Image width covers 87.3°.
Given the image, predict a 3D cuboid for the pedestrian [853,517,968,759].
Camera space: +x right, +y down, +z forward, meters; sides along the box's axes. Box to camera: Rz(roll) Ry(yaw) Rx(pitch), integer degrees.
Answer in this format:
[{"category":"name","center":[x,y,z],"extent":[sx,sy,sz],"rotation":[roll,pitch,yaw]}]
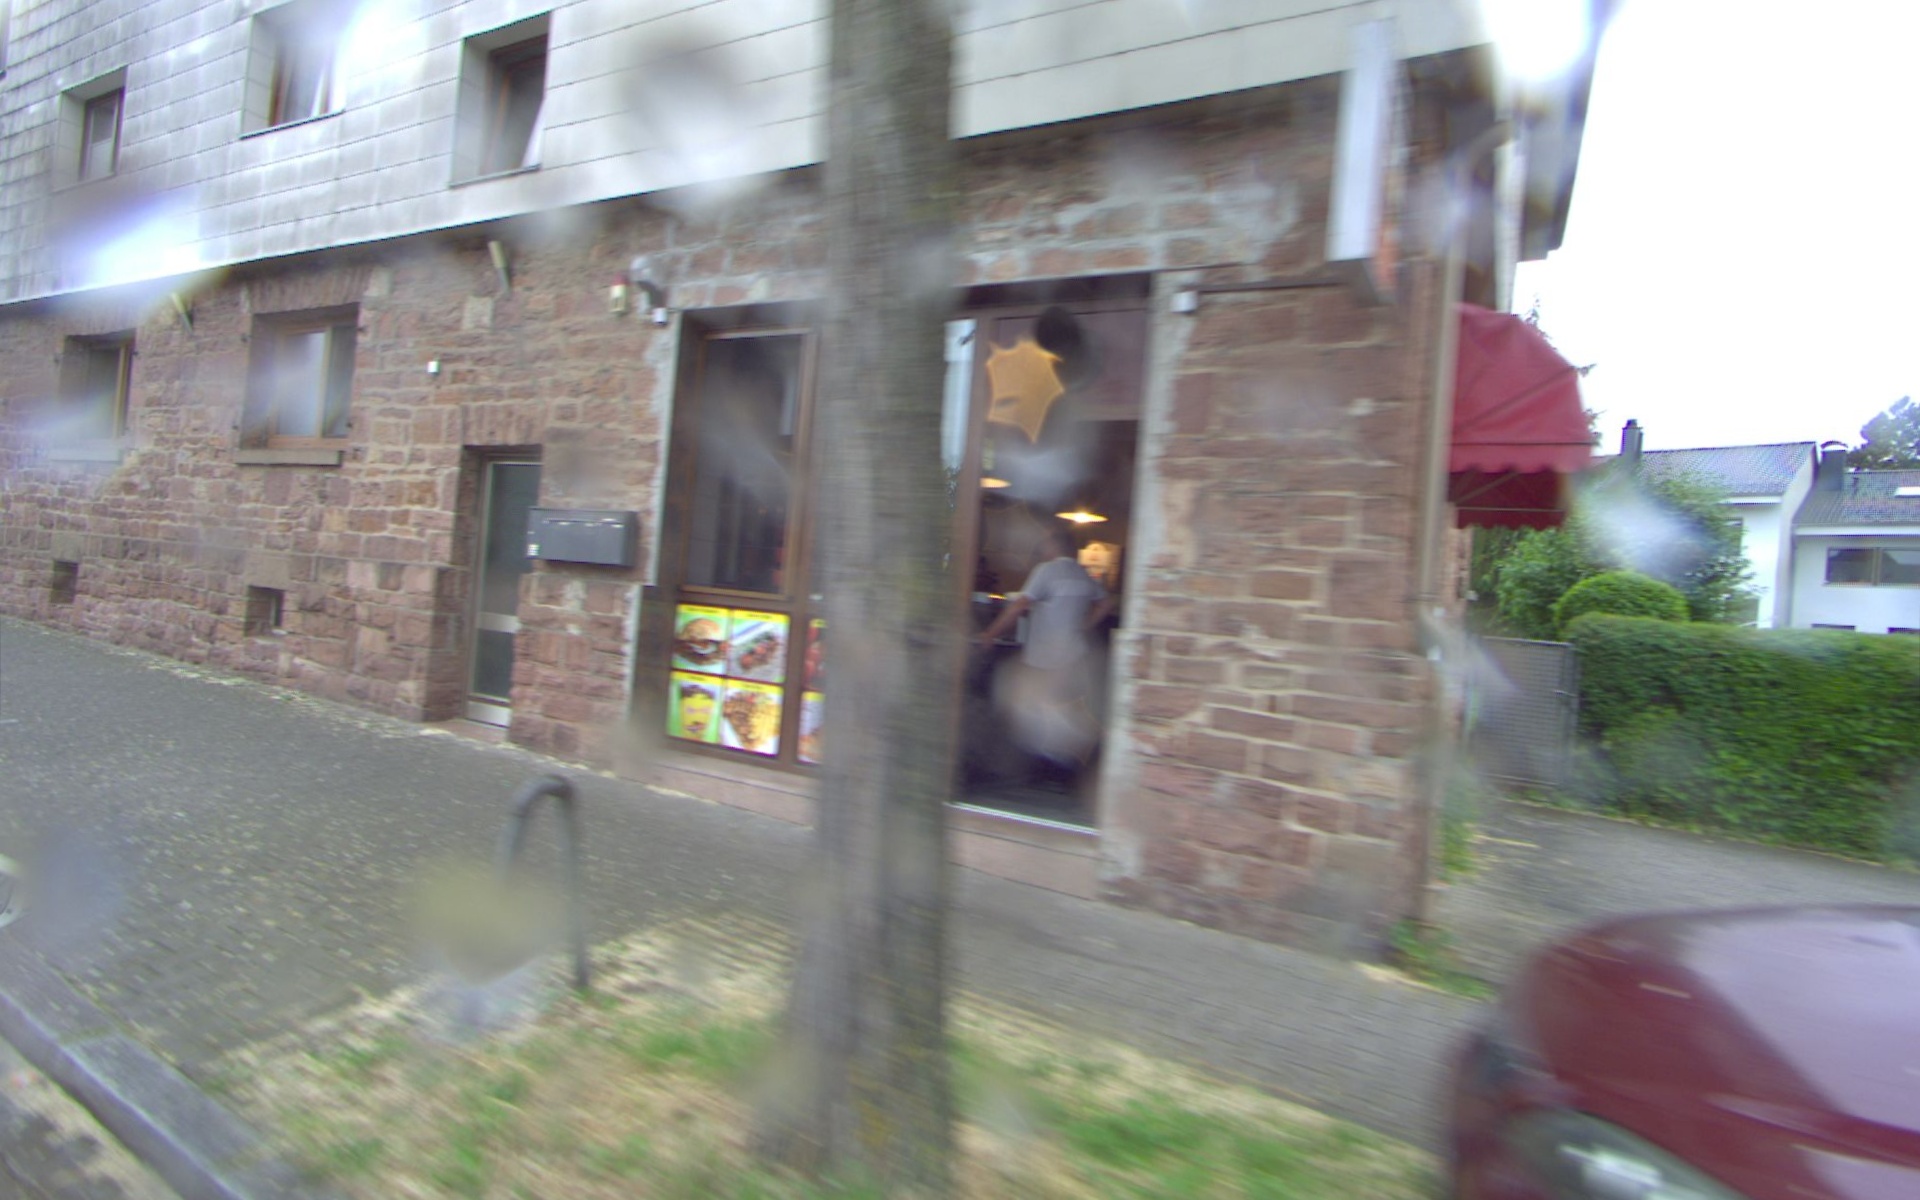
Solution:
[{"category":"pedestrian","center":[-0.352,0.277,7.332],"extent":[0.447,1.679,0.493],"rotation":[6,-1,31]}]

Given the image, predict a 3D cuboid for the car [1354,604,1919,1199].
[{"category":"car","center":[2.543,0.958,1.230],"extent":[3.692,1.521,1.615],"rotation":[4,-3,29]}]

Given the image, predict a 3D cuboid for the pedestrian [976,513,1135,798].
[{"category":"pedestrian","center":[0.639,0.372,6.620],"extent":[0.478,1.750,0.799],"rotation":[6,-2,41]}]
